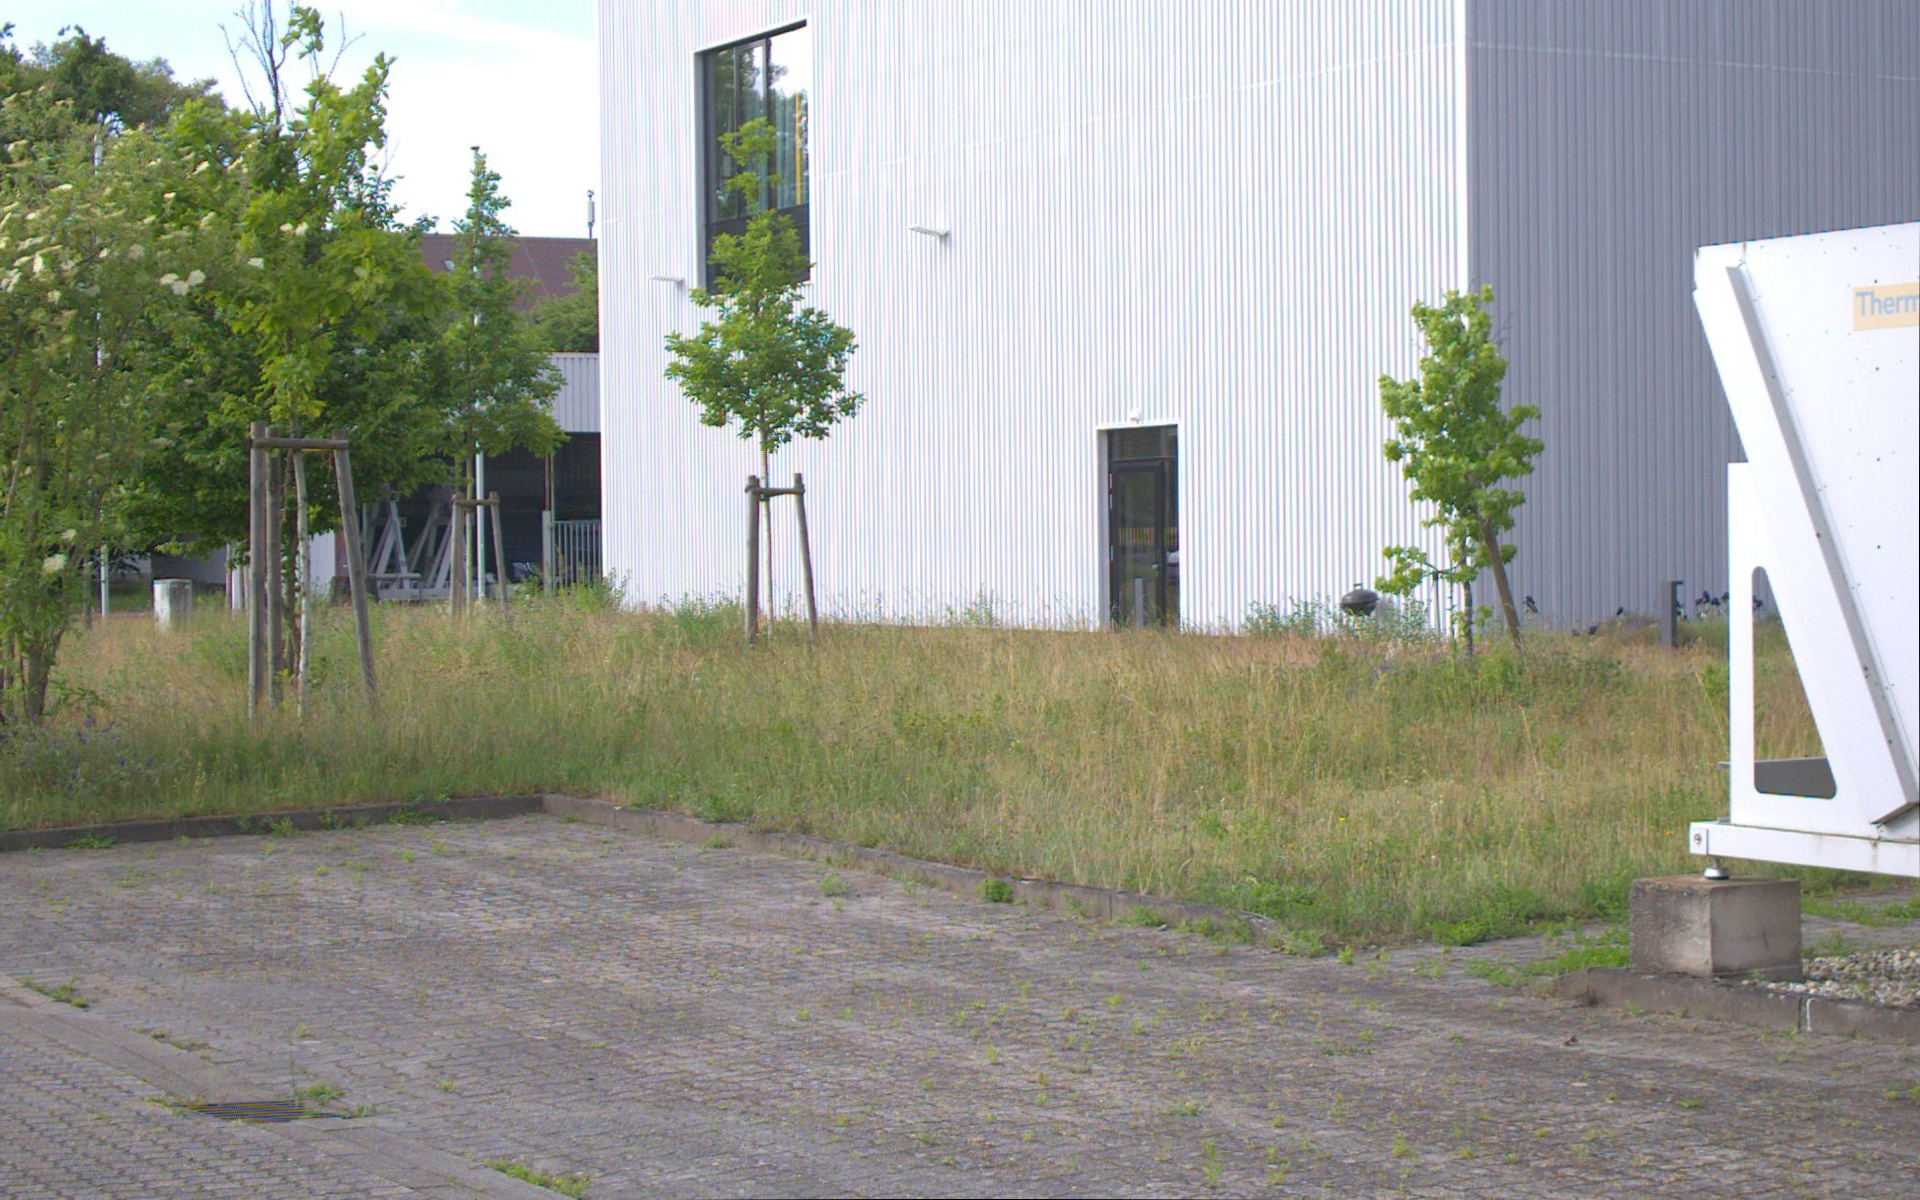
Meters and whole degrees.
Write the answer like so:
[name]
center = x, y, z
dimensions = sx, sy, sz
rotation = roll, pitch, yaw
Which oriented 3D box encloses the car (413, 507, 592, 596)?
[car]
center = -10.880, -1.151, 81.410
dimensions = 2.241, 2.007, 5.337
rotation = -2, 1, -31
